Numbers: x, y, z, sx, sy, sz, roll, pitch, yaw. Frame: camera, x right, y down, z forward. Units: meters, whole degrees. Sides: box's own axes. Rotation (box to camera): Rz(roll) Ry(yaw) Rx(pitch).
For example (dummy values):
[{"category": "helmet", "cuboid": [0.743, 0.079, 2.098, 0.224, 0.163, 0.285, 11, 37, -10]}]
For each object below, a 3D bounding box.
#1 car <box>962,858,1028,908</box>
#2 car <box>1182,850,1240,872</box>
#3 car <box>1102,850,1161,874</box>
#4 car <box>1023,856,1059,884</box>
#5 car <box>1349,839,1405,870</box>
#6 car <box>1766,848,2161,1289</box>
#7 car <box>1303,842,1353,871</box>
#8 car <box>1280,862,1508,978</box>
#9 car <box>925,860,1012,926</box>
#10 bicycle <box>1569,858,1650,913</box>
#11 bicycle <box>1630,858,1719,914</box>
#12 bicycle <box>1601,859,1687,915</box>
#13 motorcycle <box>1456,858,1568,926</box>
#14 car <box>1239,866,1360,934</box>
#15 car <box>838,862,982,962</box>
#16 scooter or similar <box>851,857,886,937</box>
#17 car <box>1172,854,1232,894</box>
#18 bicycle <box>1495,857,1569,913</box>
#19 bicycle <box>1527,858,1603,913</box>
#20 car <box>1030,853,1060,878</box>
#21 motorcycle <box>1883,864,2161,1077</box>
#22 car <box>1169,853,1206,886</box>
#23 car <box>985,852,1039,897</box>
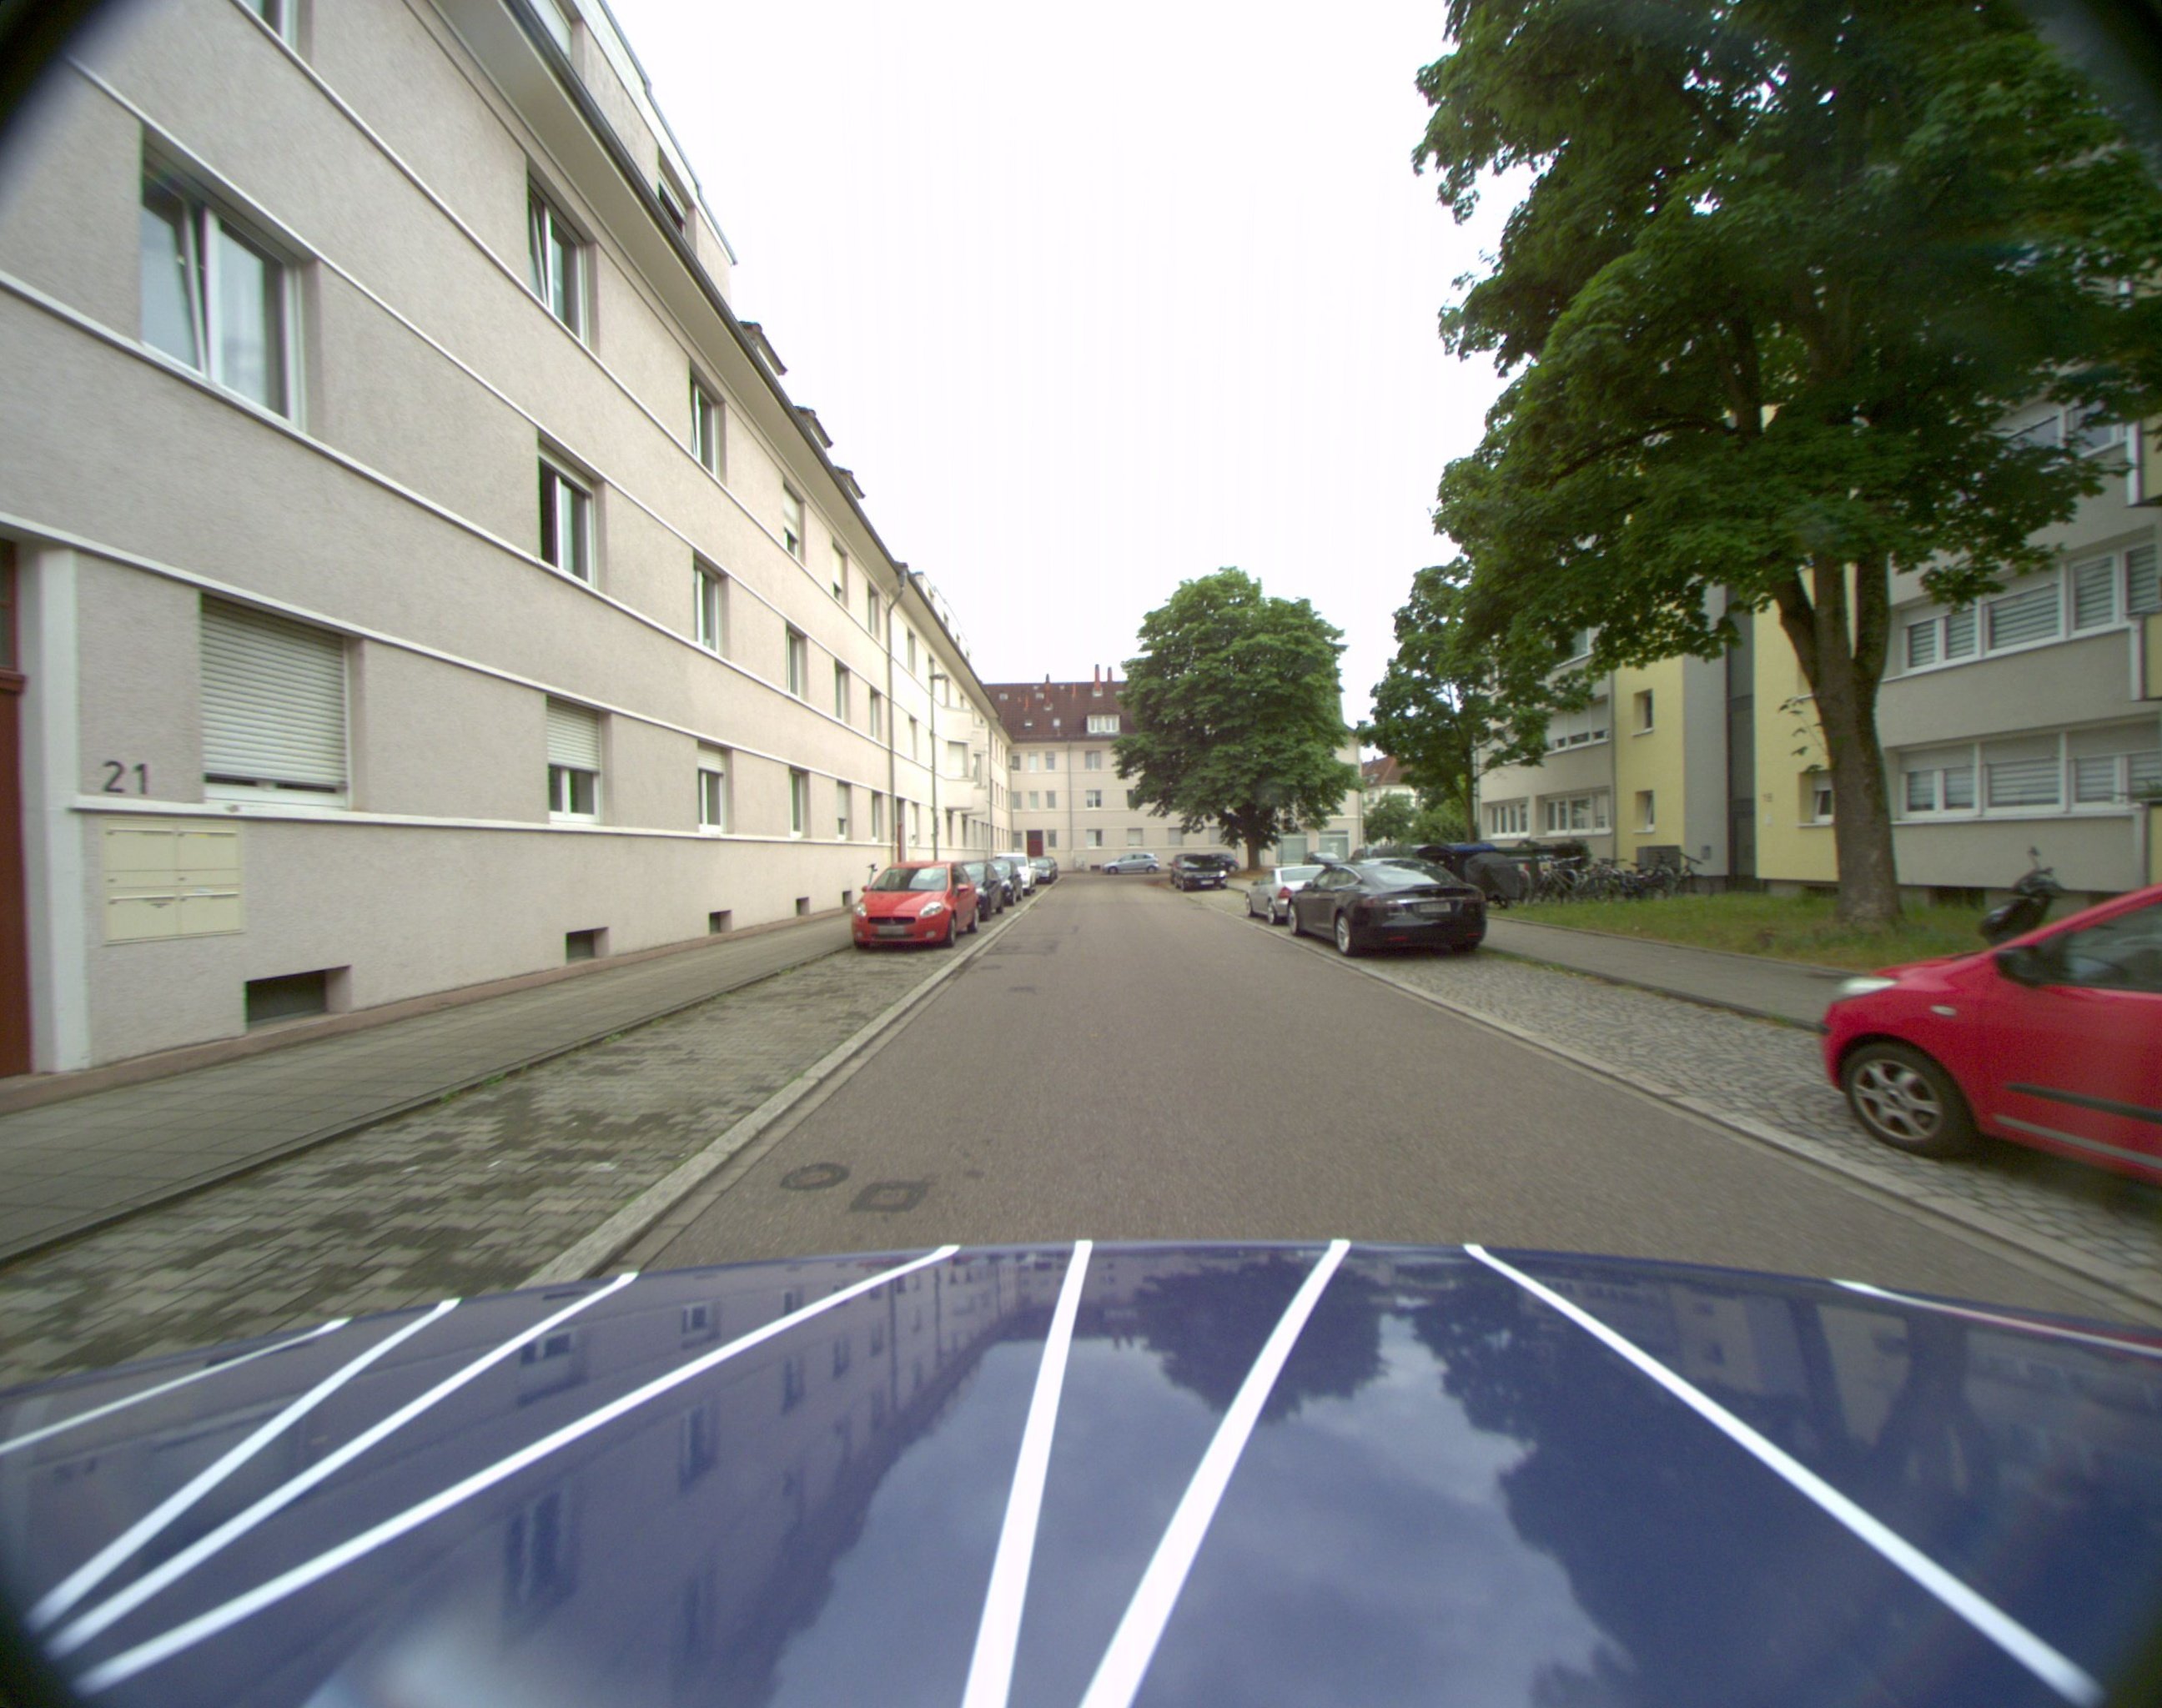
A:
[{"category": "car", "cuboid": [-2.754, 0.893, 25.079, 1.571, 1.470, 3.871, -1, 0, 2]}, {"category": "car", "cuboid": [9.522, 0.474, 55.750, 3.933, 1.481, 1.762, -2, 0, 1]}, {"category": "car", "cuboid": [3.702, 0.557, 55.831, 4.195, 1.618, 1.763, -2, 0, 3]}, {"category": "car", "cuboid": [-2.143, 0.823, 41.615, 1.749, 1.412, 4.949, 0, 0, 0]}, {"category": "car", "cuboid": [17.080, 0.054, 44.061, 1.914, 1.687, 4.070, -1, -1, 5]}, {"category": "car", "cuboid": [4.786, 0.803, 2.579, 1.567, 1.559, 3.642, -4, 0, 0]}, {"category": "car", "cuboid": [14.082, 0.148, 43.563, 1.829, 1.568, 3.843, -1, 0, 3]}, {"category": "car", "cuboid": [4.803, 0.910, 12.496, 1.846, 1.413, 4.629, -3, 0, 1]}, {"category": "car", "cuboid": [-2.803, 0.927, 19.645, 1.571, 1.465, 3.696, 1, 0, 2]}, {"category": "bicycle", "cuboid": [11.391, 0.649, 16.450, 0.553, 1.094, 1.774, -2, 1, 2]}, {"category": "bicycle", "cuboid": [12.601, 0.658, 16.193, 0.553, 1.094, 1.774, -2, 1, 2]}, {"category": "bicycle", "cuboid": [12.021, 0.672, 16.288, 0.553, 1.094, 1.774, -2, 1, 2]}, {"category": "motorcycle", "cuboid": [8.761, 0.722, 15.638, 0.682, 1.216, 3.066, -1, 0, 3]}, {"category": "car", "cuboid": [4.965, 0.998, 17.852, 1.701, 1.251, 4.015, -3, 0, 1]}, {"category": "car", "cuboid": [-2.948, 0.935, 13.881, 1.701, 1.516, 3.826, 0, 0, 1]}, {"category": "scooter or similar", "cuboid": [-5.485, 1.099, 19.629, 0.345, 2.002, 0.680, -3, 1, 40]}, {"category": "car", "cuboid": [5.103, 0.792, 32.670, 1.872, 1.456, 4.834, -4, 0, 2]}, {"category": "bicycle", "cuboid": [9.569, 0.638, 16.187, 0.553, 1.094, 1.774, -2, 1, 2]}, {"category": "bicycle", "cuboid": [10.501, 0.657, 16.546, 0.553, 1.094, 1.774, -2, 1, 2]}, {"category": "car", "cuboid": [-2.264, 0.736, 48.674, 1.761, 1.516, 4.079, 0, 0, 0]}, {"category": "motorcycle", "cuboid": [7.498, 0.787, 5.647, 0.679, 1.348, 2.229, -4, 0, 1]}, {"category": "car", "cuboid": [5.348, 0.749, 38.443, 1.528, 1.485, 3.592, -4, 0, 4]}, {"category": "car", "cuboid": [-2.694, 0.756, 30.519, 1.847, 1.664, 4.289, 0, 0, -1]}]
